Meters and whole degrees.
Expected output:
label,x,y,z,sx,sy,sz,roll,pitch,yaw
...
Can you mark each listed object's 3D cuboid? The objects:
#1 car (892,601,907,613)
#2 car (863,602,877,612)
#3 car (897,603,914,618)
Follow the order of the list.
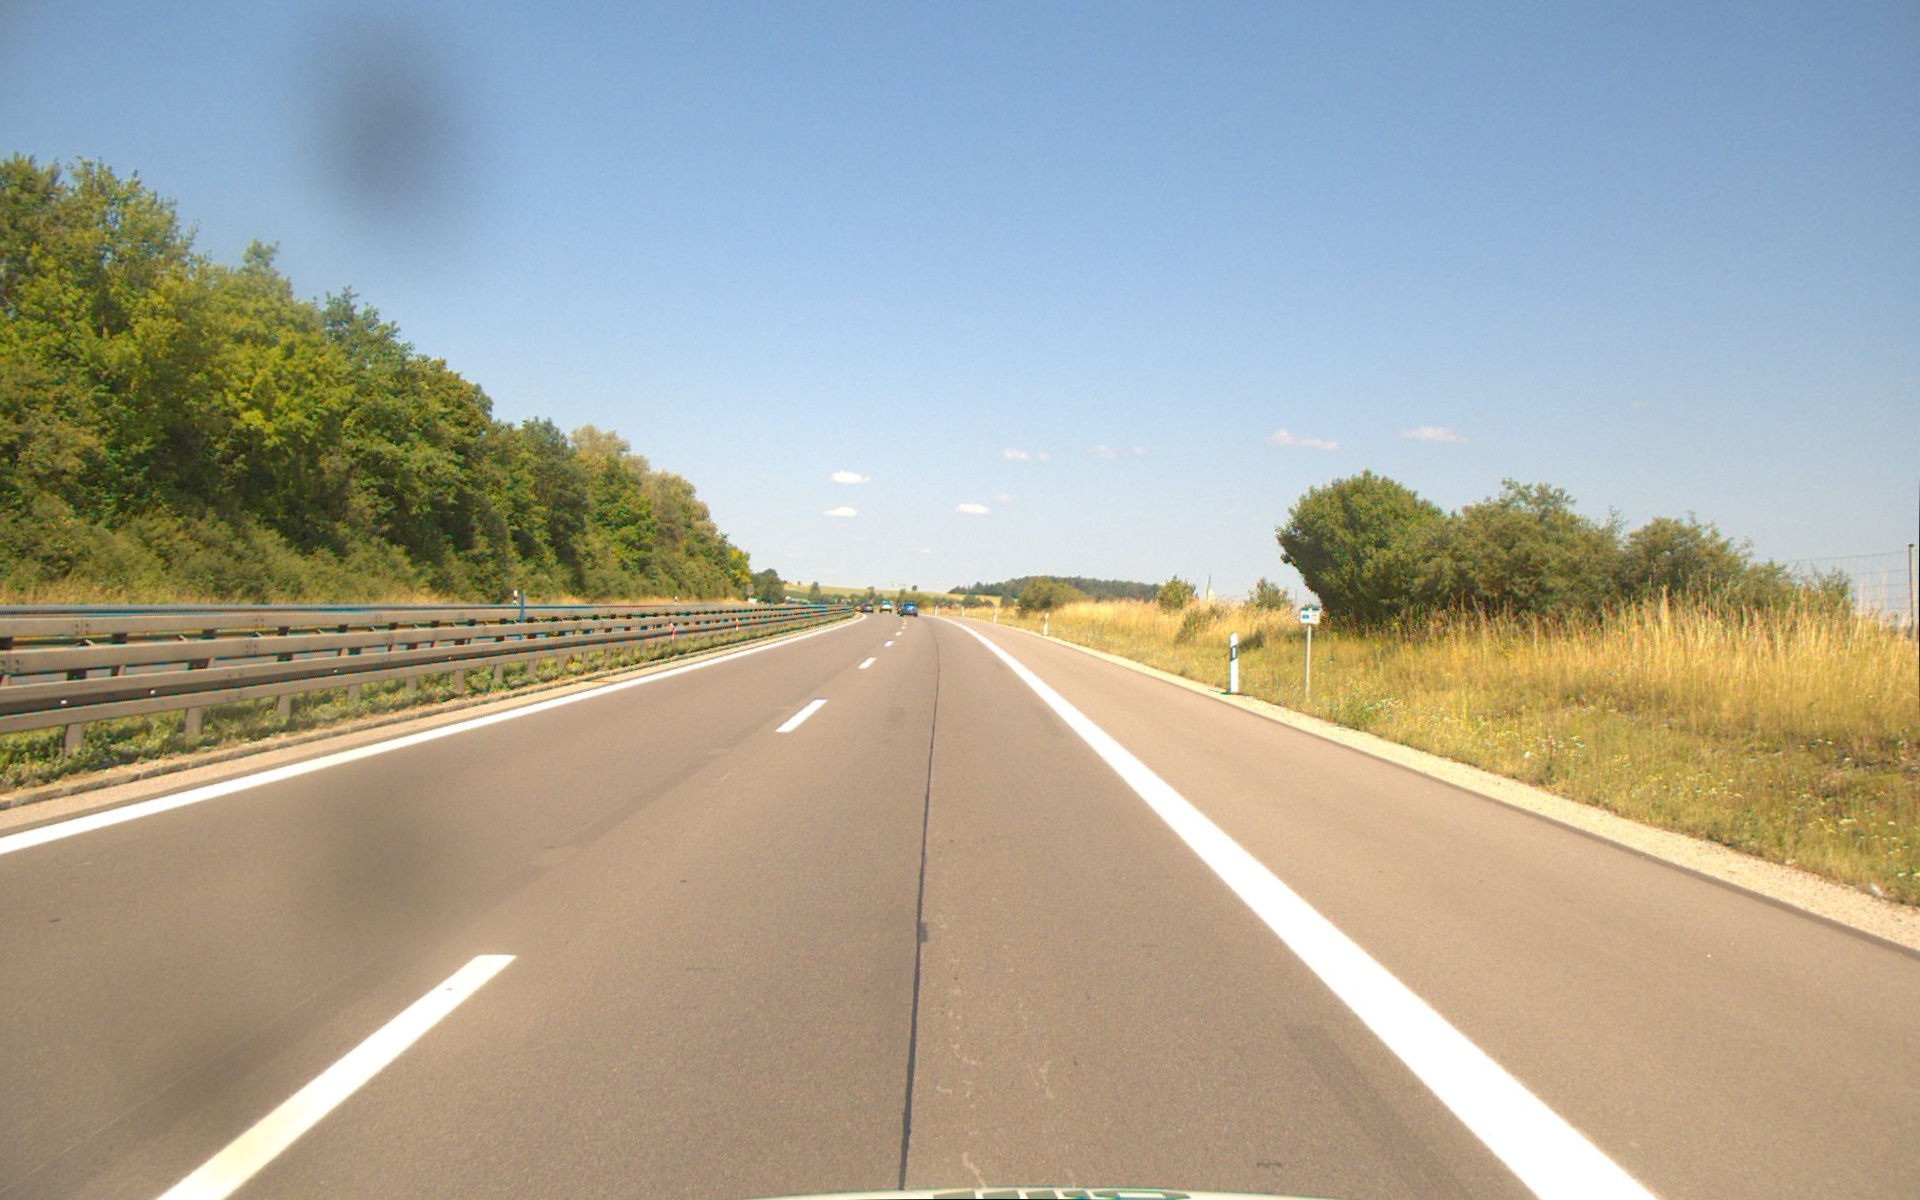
label,x,y,z,sx,sy,sz,roll,pitch,yaw
car,-8.016,0.943,218.747,1.792,1.479,3.591,1,-1,0
car,-13.444,1.005,247.076,1.792,1.479,3.591,1,-1,0
car,-5.633,1.110,172.514,1.642,1.479,3.591,1,-1,0
